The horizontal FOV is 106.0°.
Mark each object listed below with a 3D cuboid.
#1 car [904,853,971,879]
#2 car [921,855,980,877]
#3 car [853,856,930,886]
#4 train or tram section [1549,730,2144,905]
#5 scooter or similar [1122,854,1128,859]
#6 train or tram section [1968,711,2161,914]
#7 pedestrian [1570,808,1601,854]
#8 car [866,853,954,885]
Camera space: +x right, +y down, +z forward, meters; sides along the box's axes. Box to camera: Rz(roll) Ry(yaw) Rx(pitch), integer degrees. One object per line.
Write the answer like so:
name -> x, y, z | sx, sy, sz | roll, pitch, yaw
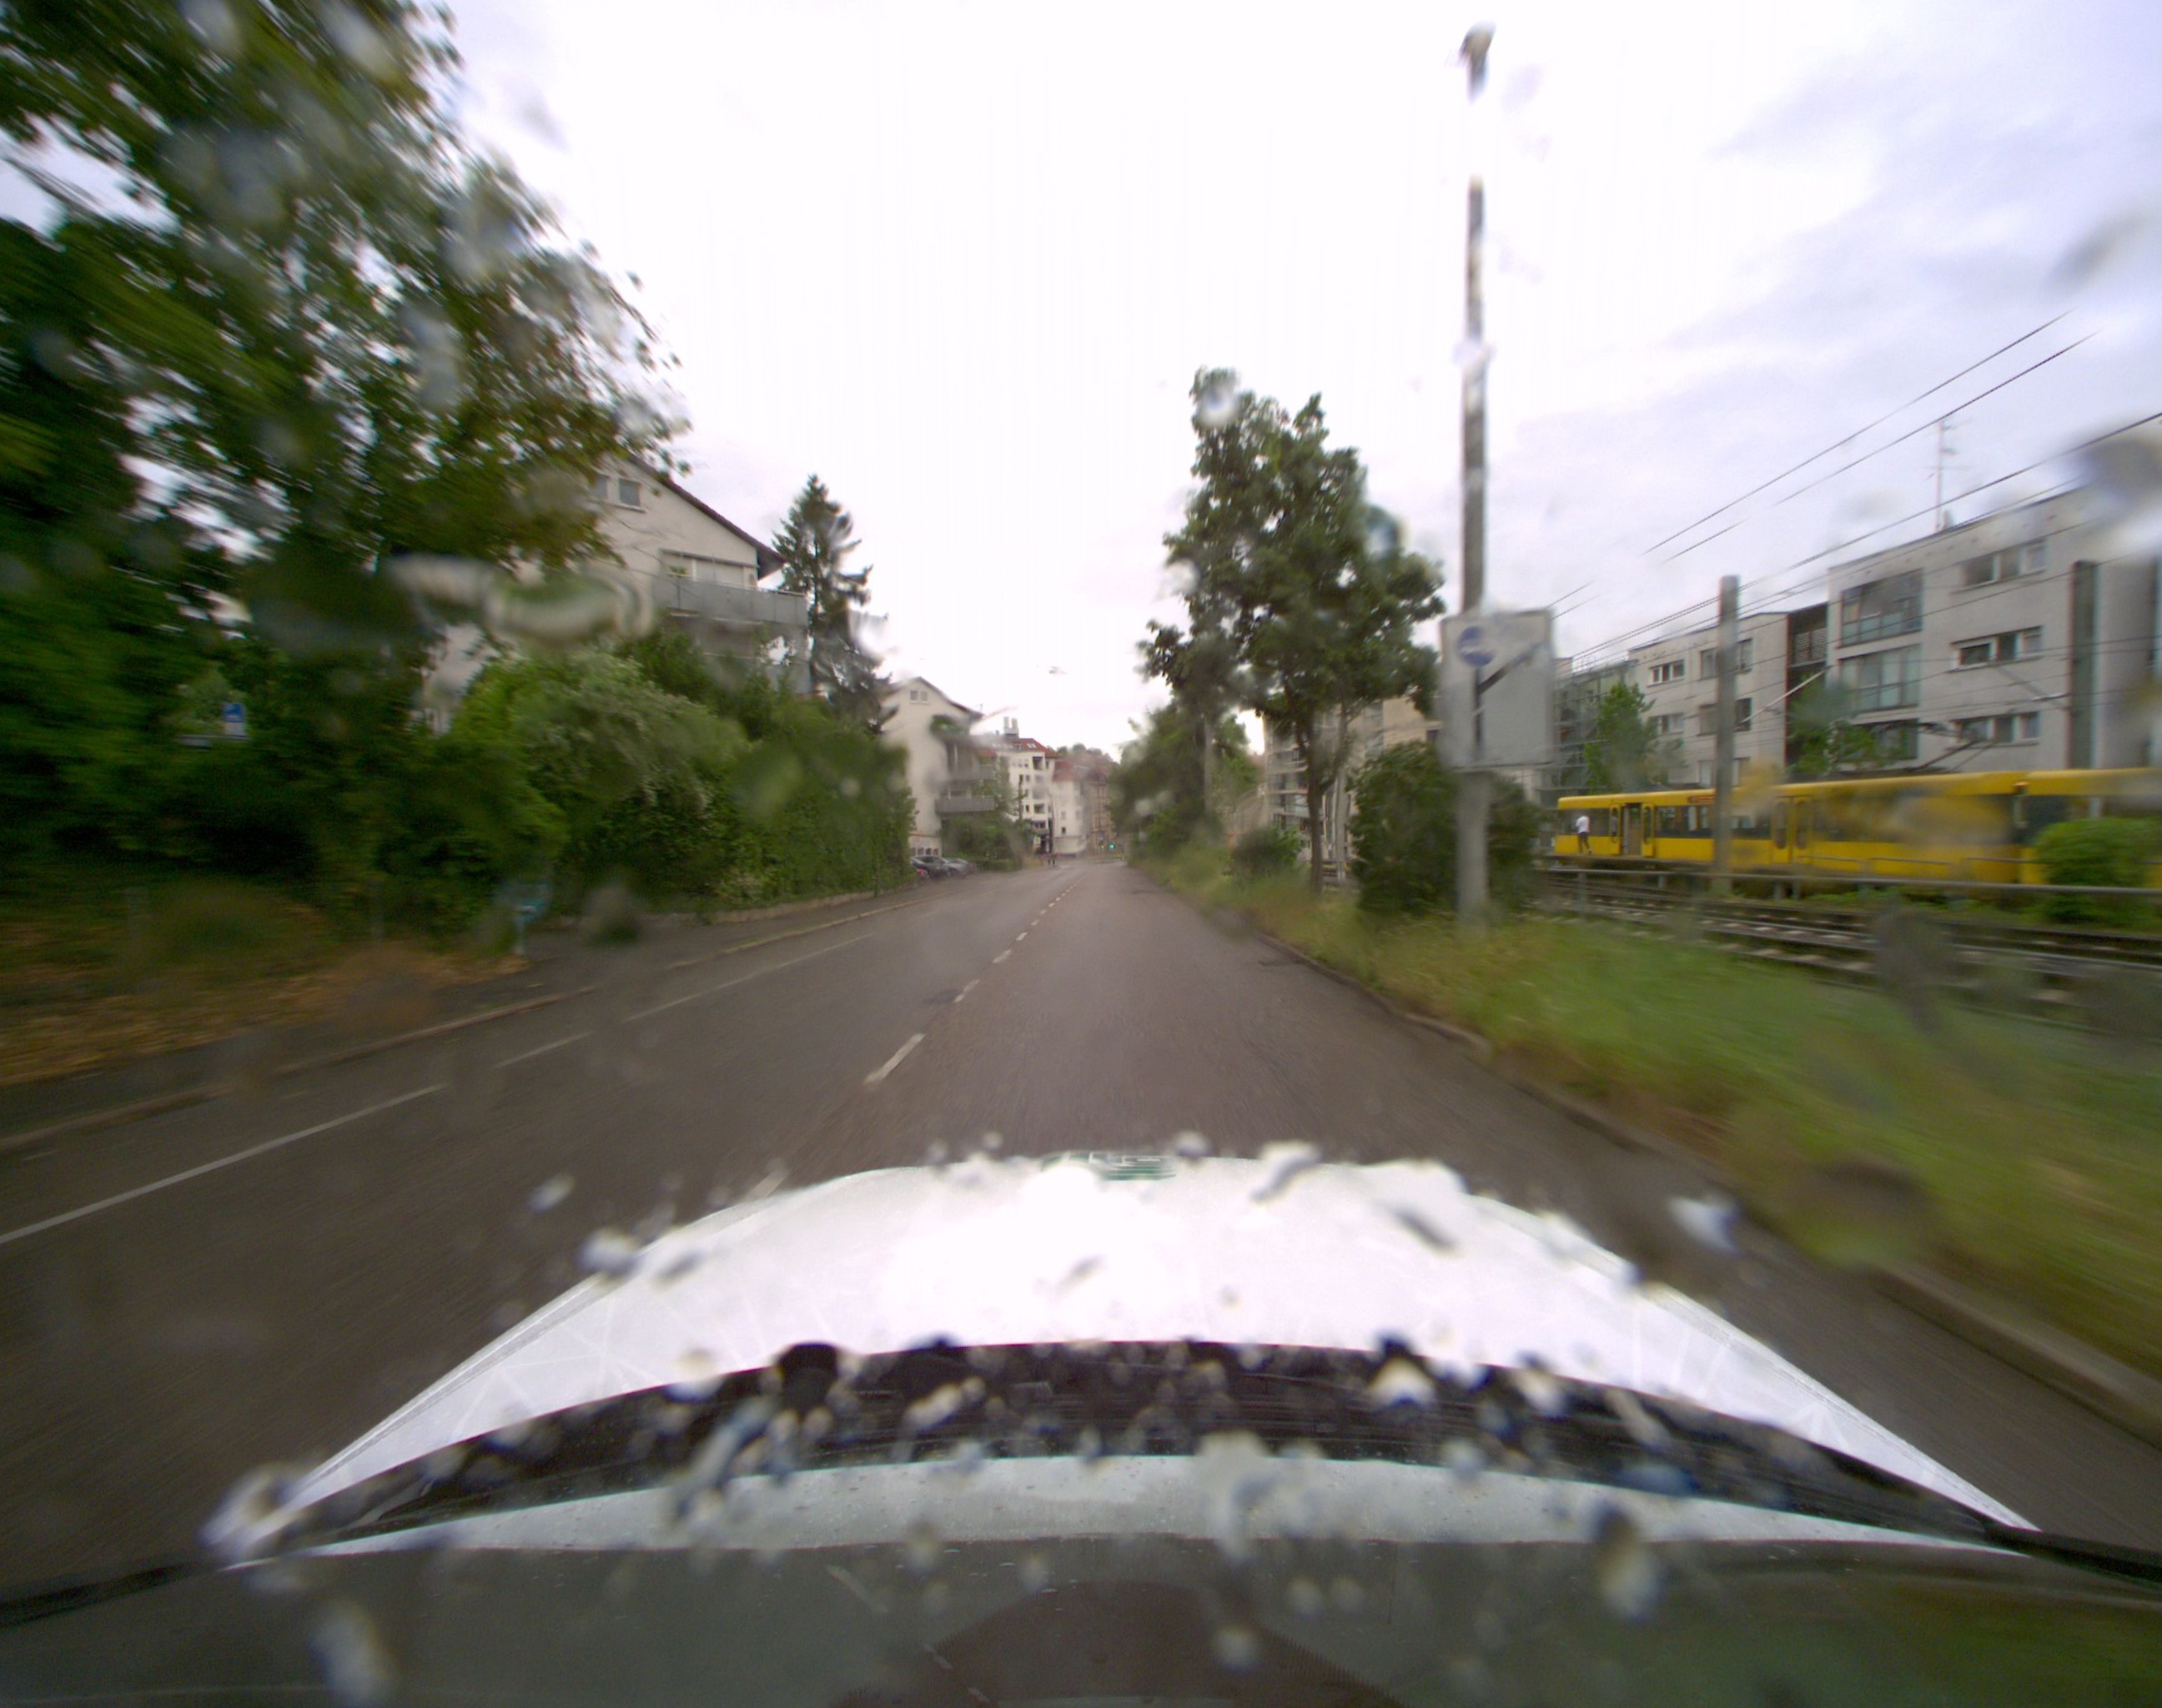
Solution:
car -> -9.258, 0.787, 52.728 | 3.978, 1.559, 1.878 | -1, -1, -3
car -> -8.791, 0.784, 55.033 | 3.616, 1.407, 1.785 | -1, -1, 3
car -> -9.674, 0.866, 41.757 | 3.625, 1.405, 1.713 | -1, -1, -5
train or tram section -> 23.031, -0.889, 28.164 | 3.318, 3.947, 18.820 | -1, 0, 2
scooter or similar -> 6.940, 0.428, 128.783 | 0.480, 0.761, 1.338 | -2, 0, 29
train or tram section -> 22.492, -0.831, 9.675 | 3.318, 3.947, 19.287 | -1, 0, 2
pedestrian -> 21.026, -0.944, 33.941 | 0.719, 1.880, 0.818 | -1, -1, 2
car -> -9.349, 0.810, 44.769 | 4.434, 1.602, 1.814 | -1, 1, 0
